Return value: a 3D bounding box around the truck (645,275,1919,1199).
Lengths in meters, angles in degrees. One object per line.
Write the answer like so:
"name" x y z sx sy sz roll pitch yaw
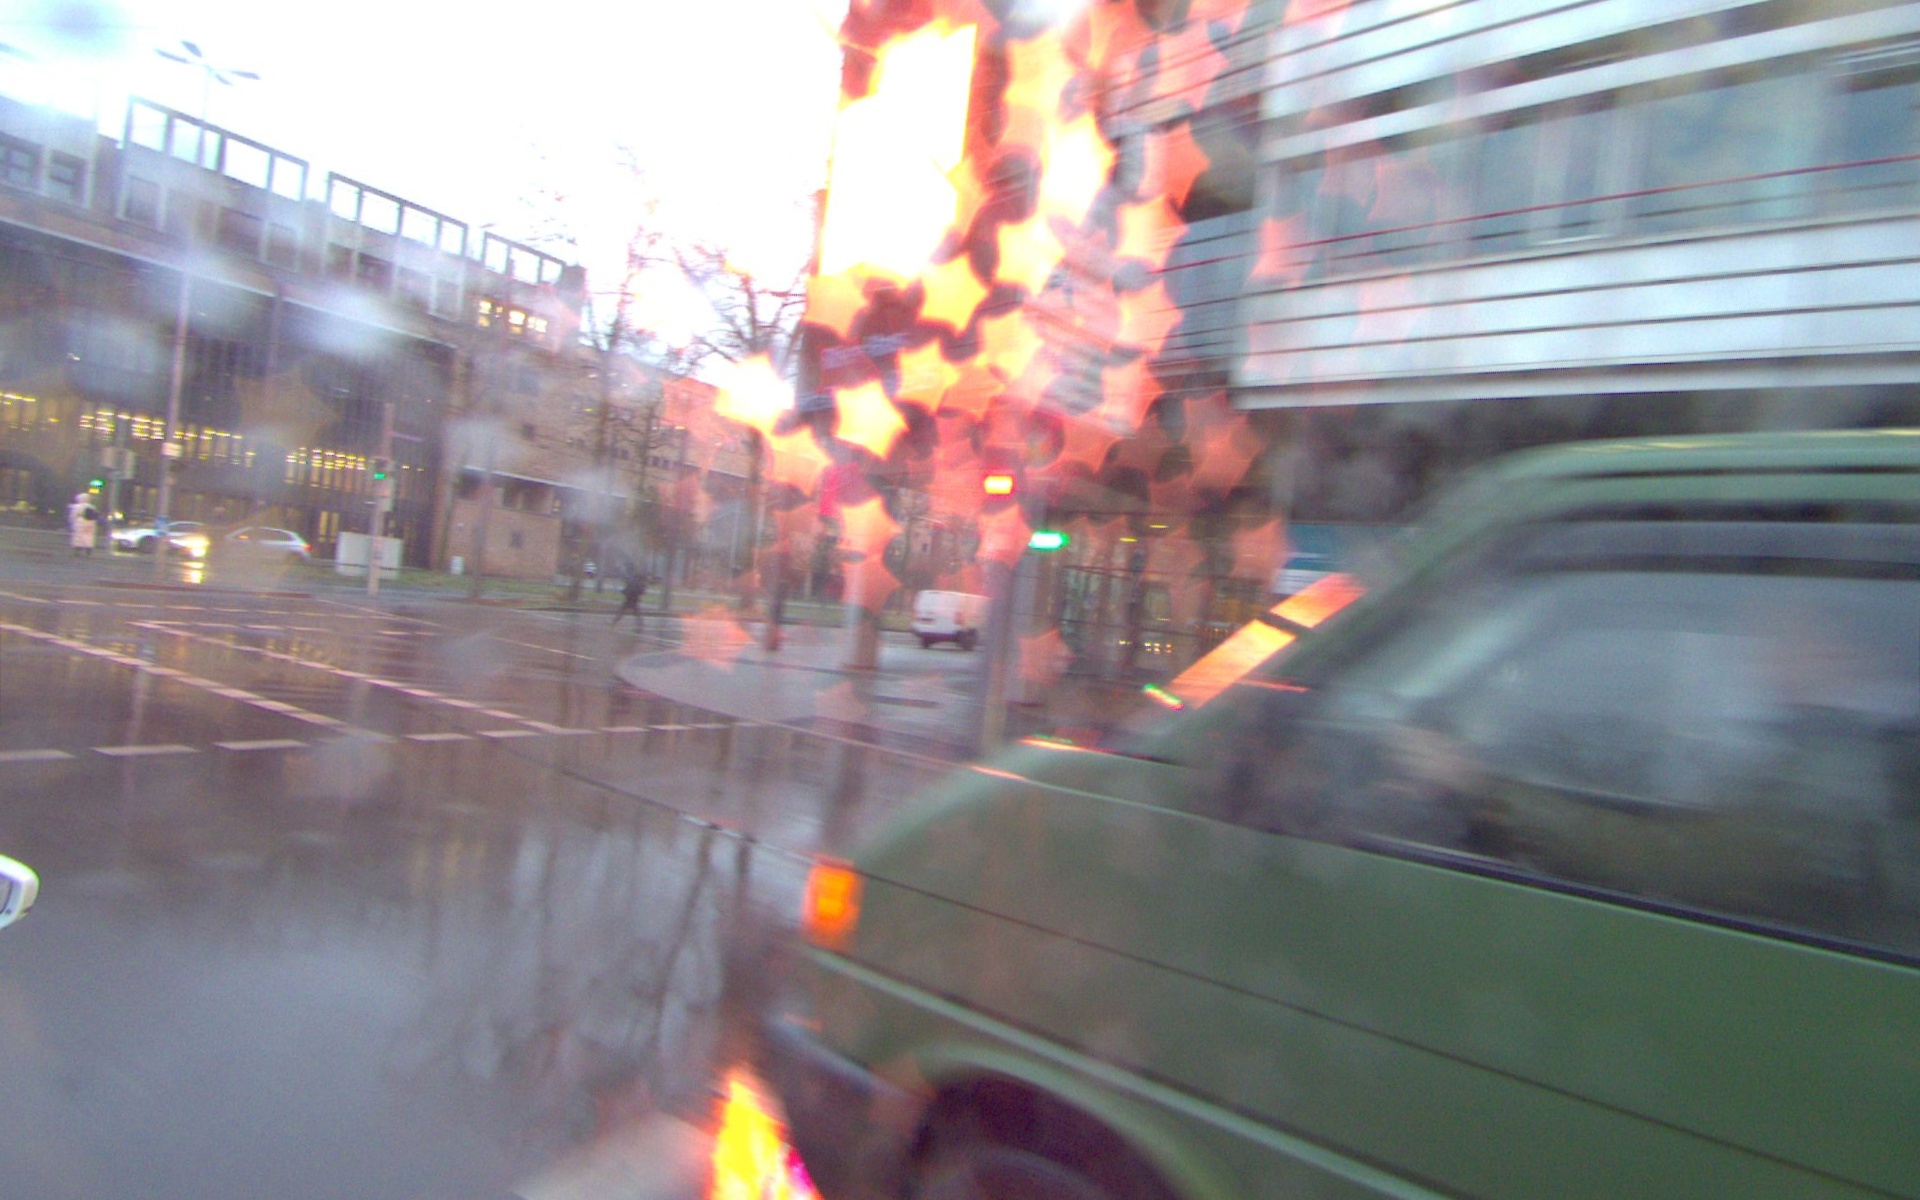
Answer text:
"truck" 1.834 0.758 1.580 4.543 1.939 1.907 6 -2 34

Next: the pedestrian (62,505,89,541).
"pedestrian" -37.745 -3.287 42.924 0.727 1.406 0.735 7 1 44

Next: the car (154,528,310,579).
"car" -25.348 -1.574 35.171 1.782 1.358 3.988 6 1 26

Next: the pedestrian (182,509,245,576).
"pedestrian" -22.165 -1.696 29.868 0.763 1.809 1.151 7 1 24

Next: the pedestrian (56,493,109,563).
"pedestrian" -24.208 -1.984 27.748 0.721 1.809 0.736 6 1 20

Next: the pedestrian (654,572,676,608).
"pedestrian" -12.126 -0.412 41.326 0.471 1.381 0.605 7 1 31

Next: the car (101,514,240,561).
"car" -31.892 -2.507 40.768 1.782 1.326 3.992 6 -1 25

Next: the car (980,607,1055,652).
"car" 2.396 1.233 40.964 1.613 1.546 3.842 6 -1 24

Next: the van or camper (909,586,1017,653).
"van or camper" 0.193 0.756 35.495 1.809 1.952 4.745 6 -1 25

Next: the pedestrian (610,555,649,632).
"pedestrian" -8.159 -0.161 24.861 0.640 1.834 0.798 6 1 -10
